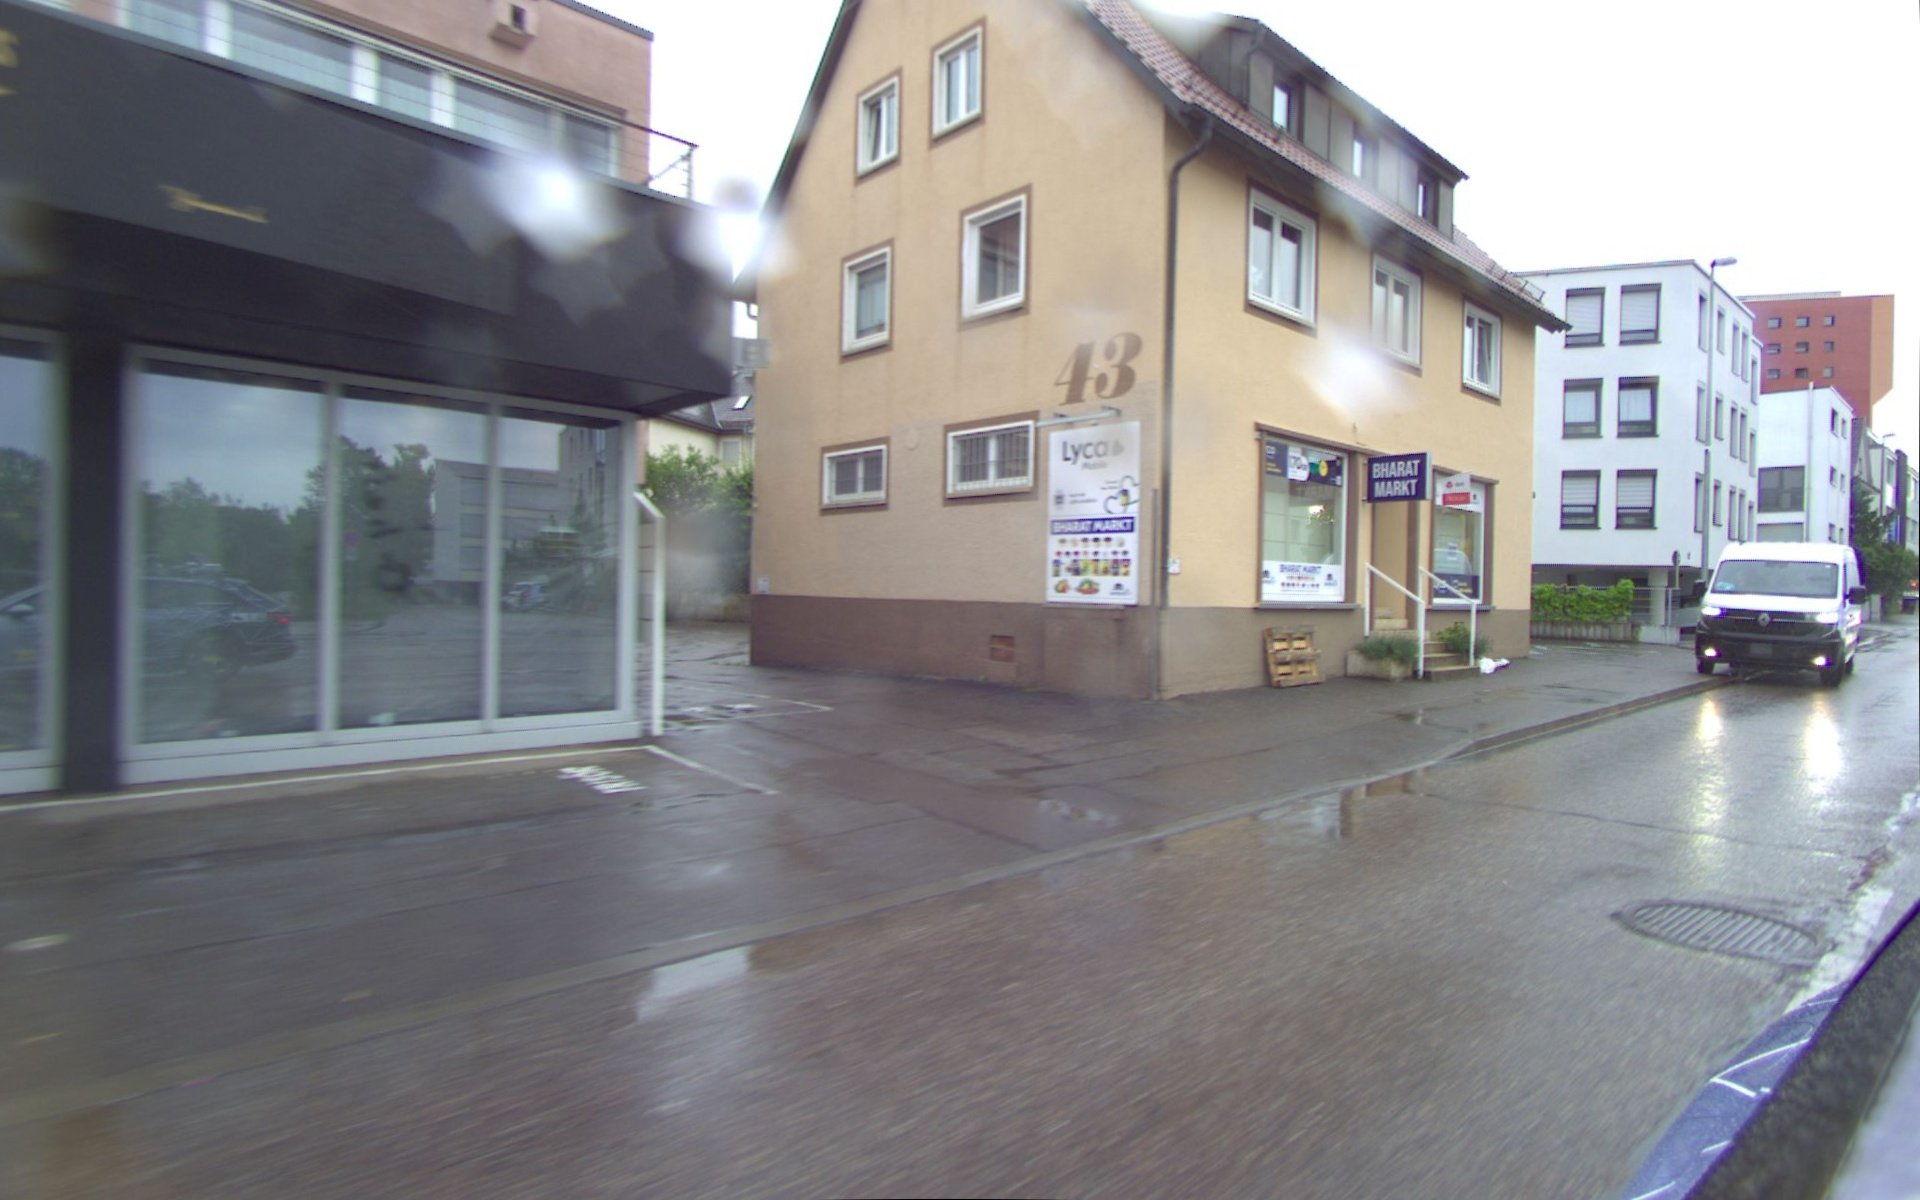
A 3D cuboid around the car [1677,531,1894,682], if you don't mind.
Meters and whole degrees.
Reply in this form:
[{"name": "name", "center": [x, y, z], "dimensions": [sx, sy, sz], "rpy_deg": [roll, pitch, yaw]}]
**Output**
[{"name": "car", "center": [15.814, -0.028, 19.215], "dimensions": [6.514, 2.411, 2.294], "rpy_deg": [-2, 3, -43]}]
